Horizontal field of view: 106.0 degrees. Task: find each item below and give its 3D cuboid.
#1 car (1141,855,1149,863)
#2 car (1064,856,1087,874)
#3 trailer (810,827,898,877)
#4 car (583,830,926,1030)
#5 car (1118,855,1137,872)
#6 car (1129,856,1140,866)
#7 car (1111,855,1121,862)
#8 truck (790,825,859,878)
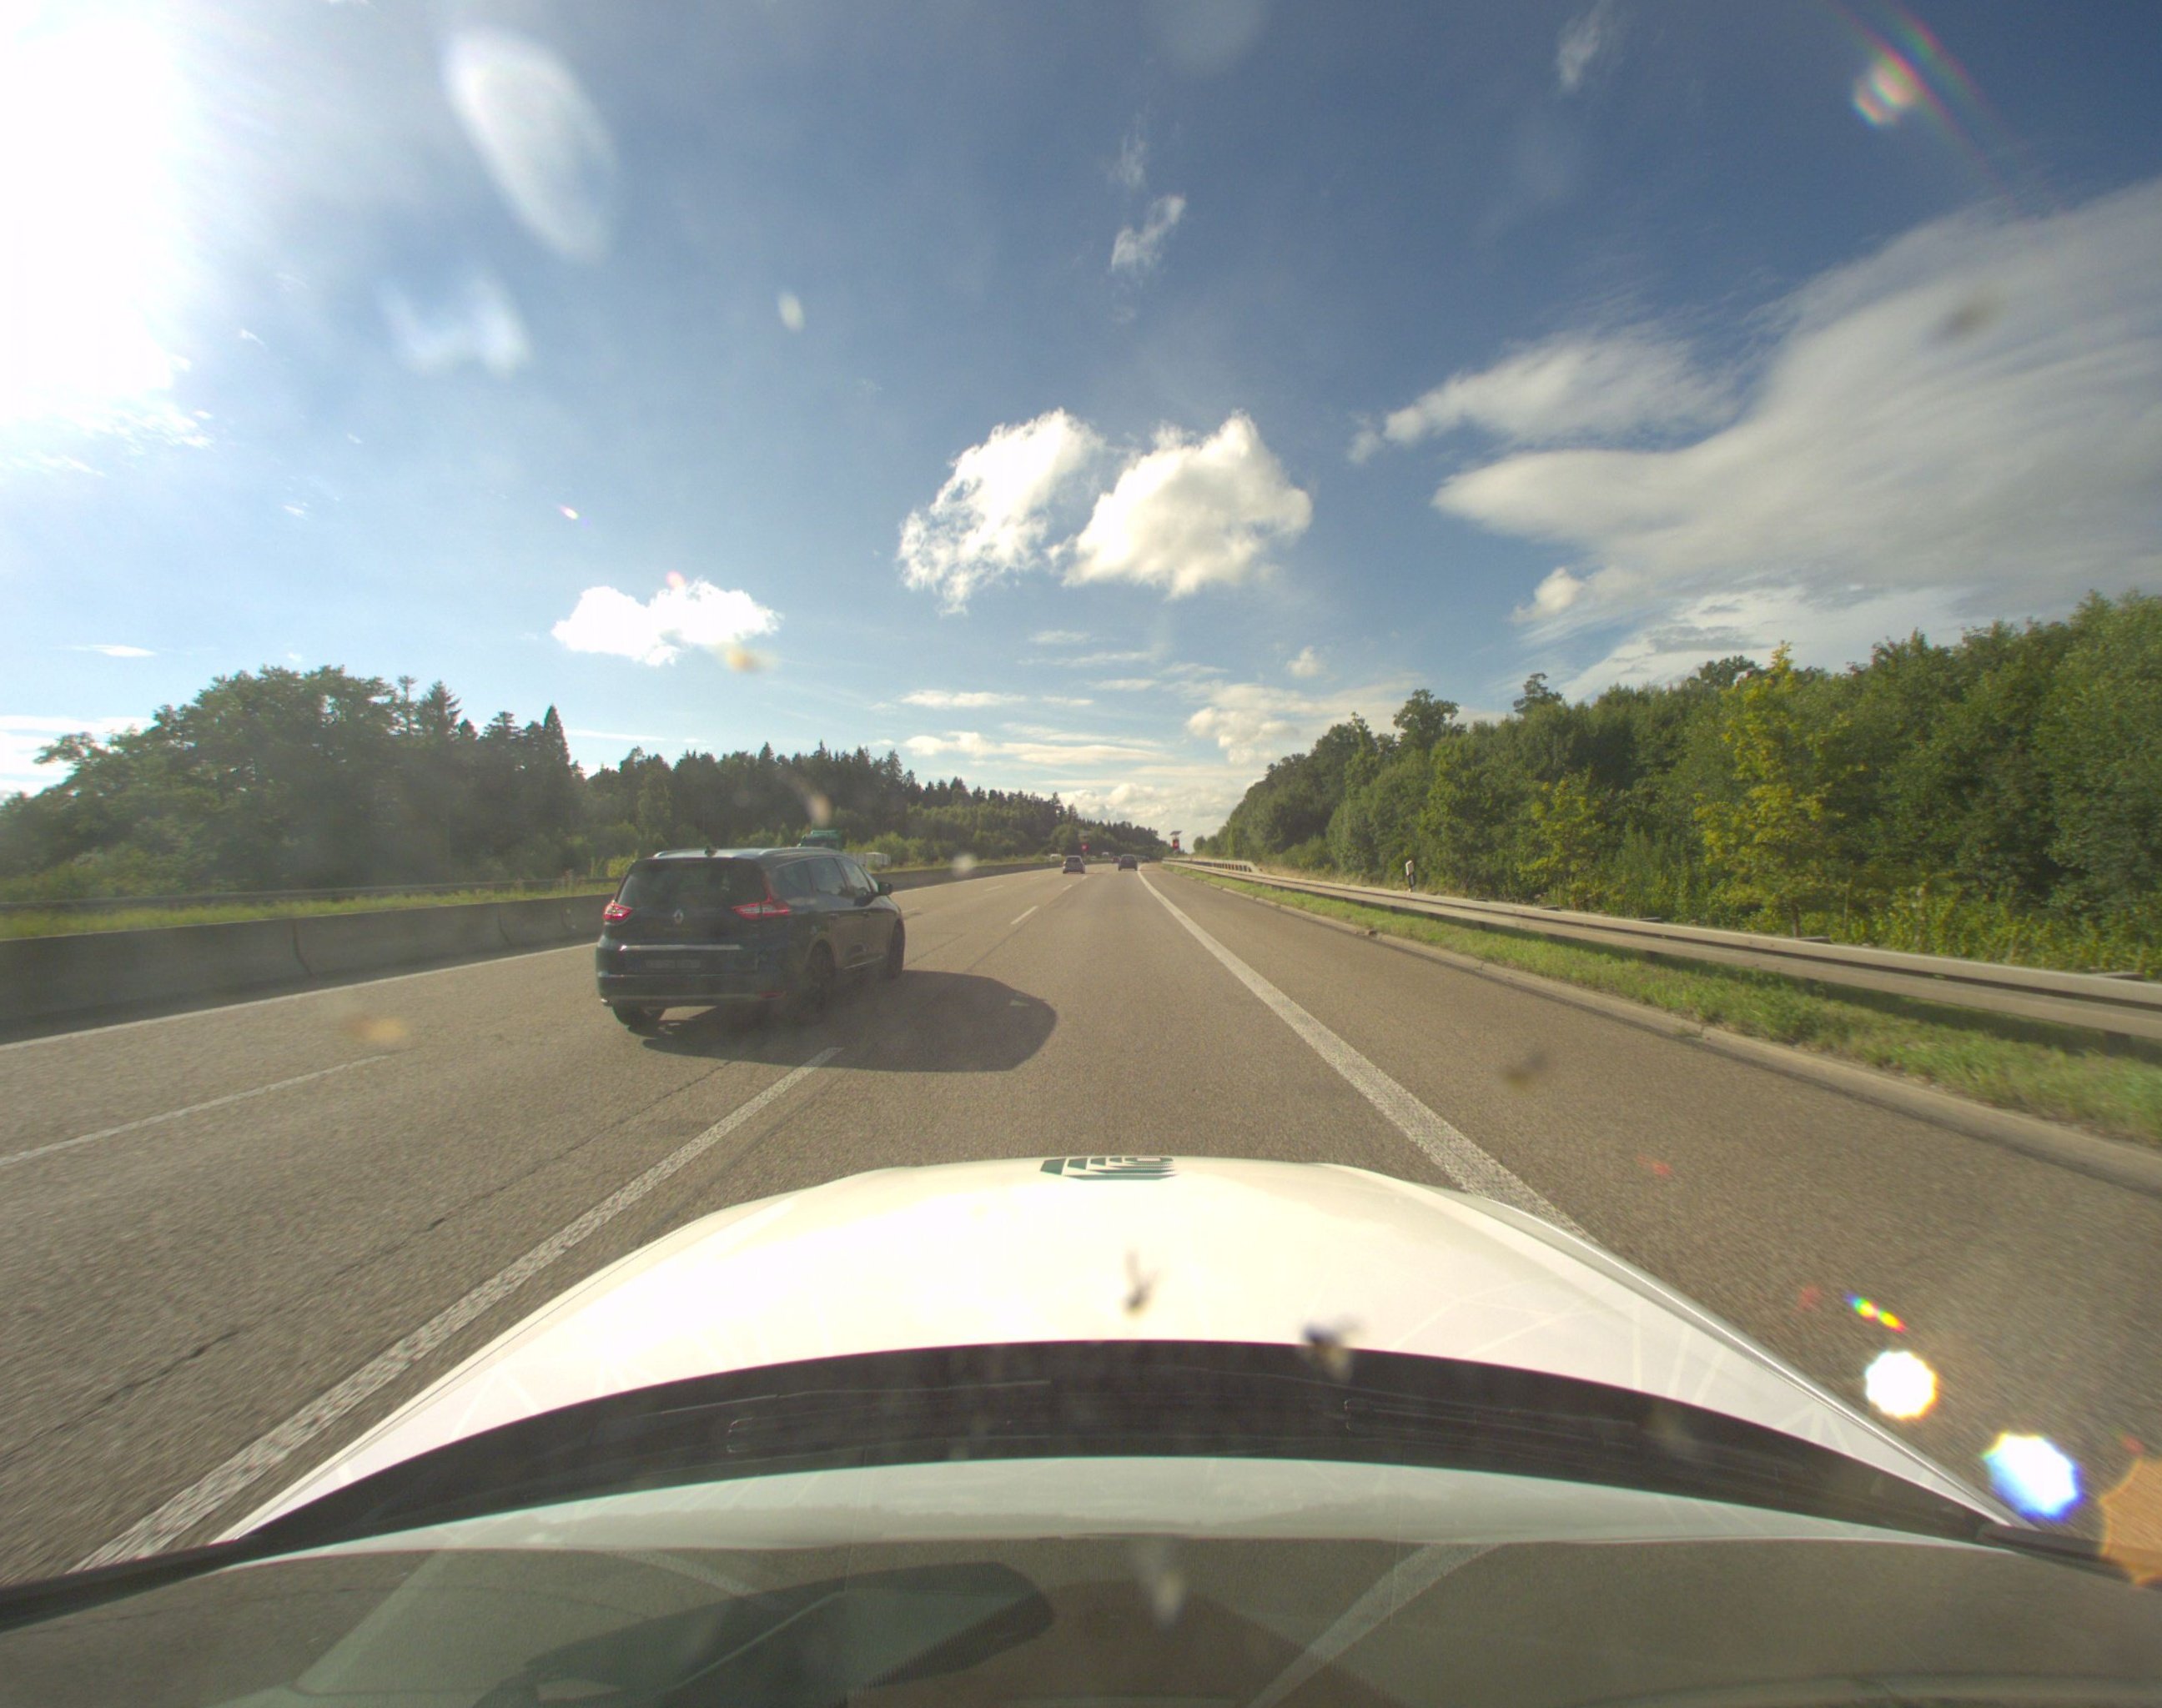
[{"bbox_3d":[15.749,1.187,198.826,1.803,1.706,4.007,-1,0,6],"label":"car"},{"bbox_3d":[-0.475,0.920,71.488,1.867,1.497,3.881,-1,0,1],"label":"car"},{"bbox_3d":[-19.906,-0.190,72.727,3.361,4.009,13.650,-1,0,3],"label":"trailer"},{"bbox_3d":[-3.268,0.660,9.337,1.986,1.707,4.530,-1,0,1],"label":"car"},{"bbox_3d":[4.790,0.916,83.838,1.866,1.675,3.892,-1,0,2],"label":"car"},{"bbox_3d":[10.951,1.464,166.483,1.987,2.013,4.000,0,0,0],"label":"car"},{"bbox_3d":[8.063,1.111,187.505,1.864,1.497,3.886,-1,0,6],"label":"car"},{"bbox_3d":[-20.297,-0.200,64.908,3.362,4.009,5.867,-1,0,3],"label":"truck"}]
